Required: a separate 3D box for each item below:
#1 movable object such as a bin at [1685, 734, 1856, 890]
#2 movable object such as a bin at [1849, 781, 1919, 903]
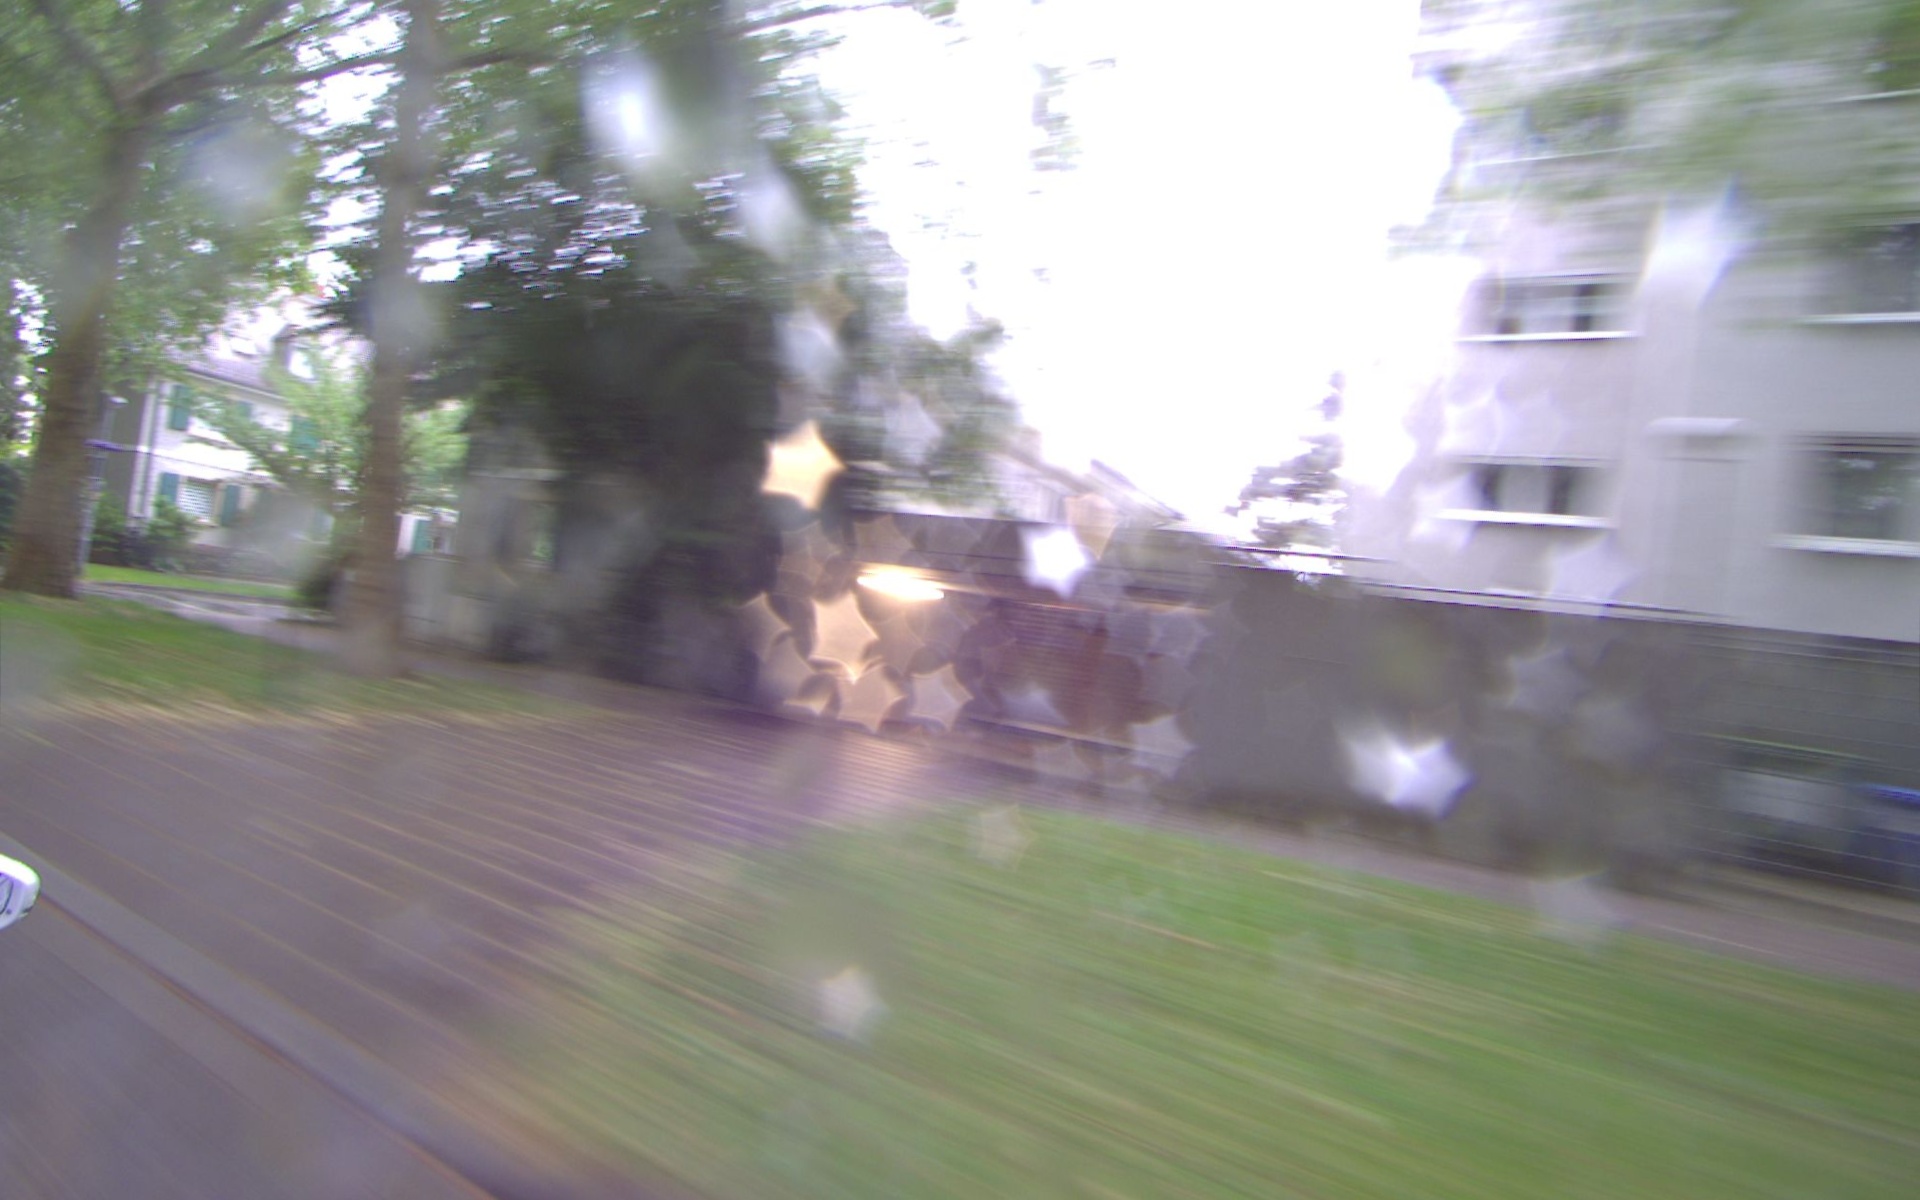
[{"bbox_3d":[8.436,2.169,10.548,1.154,1.326,0.904,7,-1,32],"label":"movable object such as a bin"},{"bbox_3d":[9.464,2.427,10.082,0.611,1.079,0.688,7,-1,31],"label":"movable object such as a bin"}]
